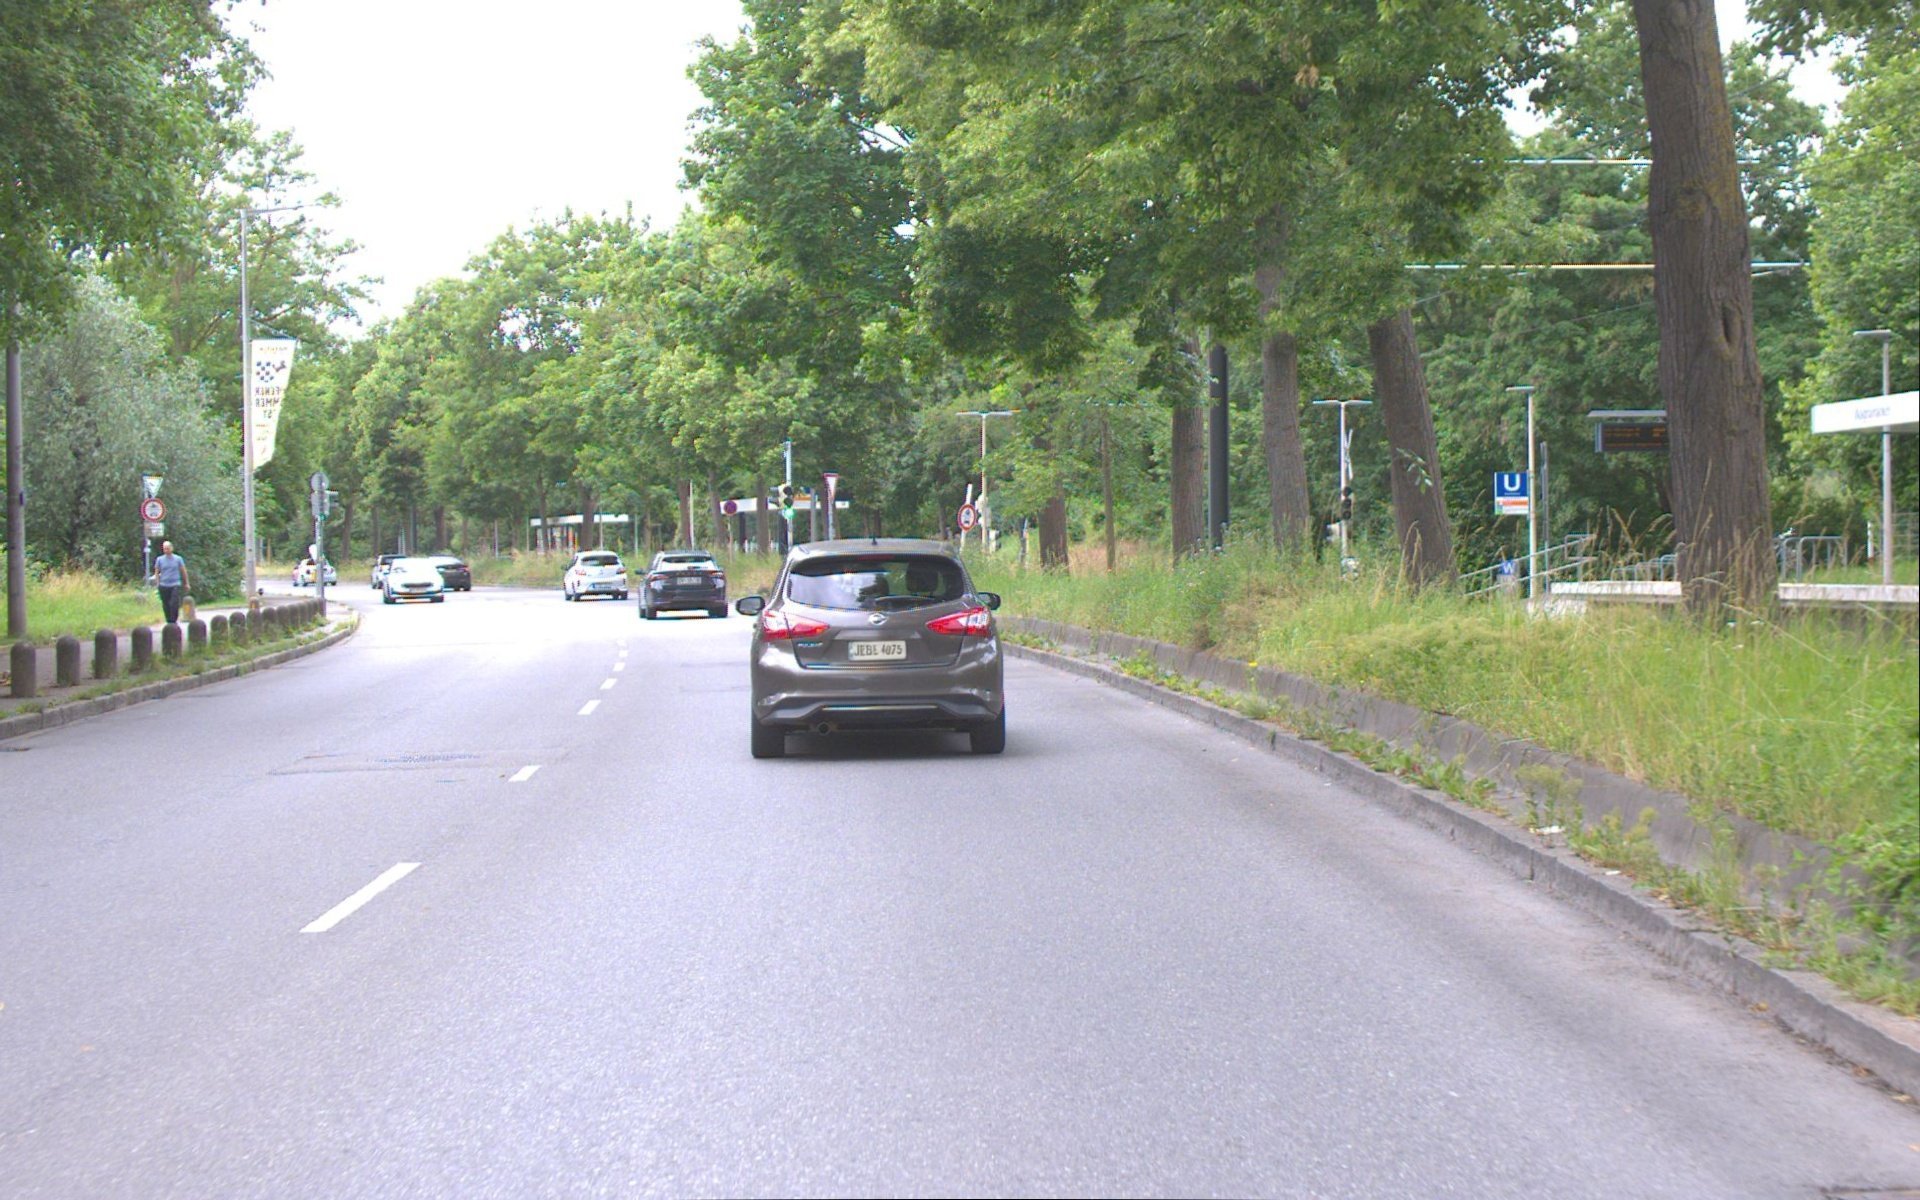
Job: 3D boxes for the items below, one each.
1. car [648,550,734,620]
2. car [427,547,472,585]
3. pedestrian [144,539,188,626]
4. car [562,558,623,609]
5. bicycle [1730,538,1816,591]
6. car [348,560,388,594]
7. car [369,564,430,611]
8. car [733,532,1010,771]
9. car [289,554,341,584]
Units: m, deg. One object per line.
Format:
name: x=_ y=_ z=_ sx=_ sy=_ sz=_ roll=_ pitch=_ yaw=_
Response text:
car: x=-5.872 y=-0.340 z=74.773 sx=1.775 sy=1.467 sz=4.001 roll=1 pitch=1 yaw=-5
car: x=-20.758 y=-1.395 z=139.769 sx=1.775 sy=1.467 sz=4.001 roll=1 pitch=1 yaw=-8
pedestrian: x=-15.099 y=-0.333 z=65.426 sx=0.689 sy=1.628 sz=0.838 roll=1 pitch=1 yaw=-6
car: x=-11.119 y=-0.516 z=104.025 sx=1.775 sy=1.467 sz=4.001 roll=1 pitch=1 yaw=-6
bicycle: x=15.406 y=-0.670 z=65.169 sx=1.508 sy=0.970 sz=0.450 roll=1 pitch=1 yaw=-8
car: x=-26.965 y=-1.049 z=156.715 sx=1.775 sy=1.467 sz=4.001 roll=0 pitch=1 yaw=-10
car: x=-18.371 y=-0.424 z=112.901 sx=1.773 sy=1.434 sz=4.362 roll=-2 pitch=1 yaw=-7
car: x=-0.648 y=0.304 z=25.053 sx=1.816 sy=1.503 sz=4.001 roll=-2 pitch=2 yaw=-2
car: x=-33.530 y=-1.622 z=178.667 sx=1.775 sy=1.467 sz=4.001 roll=1 pitch=1 yaw=-23
